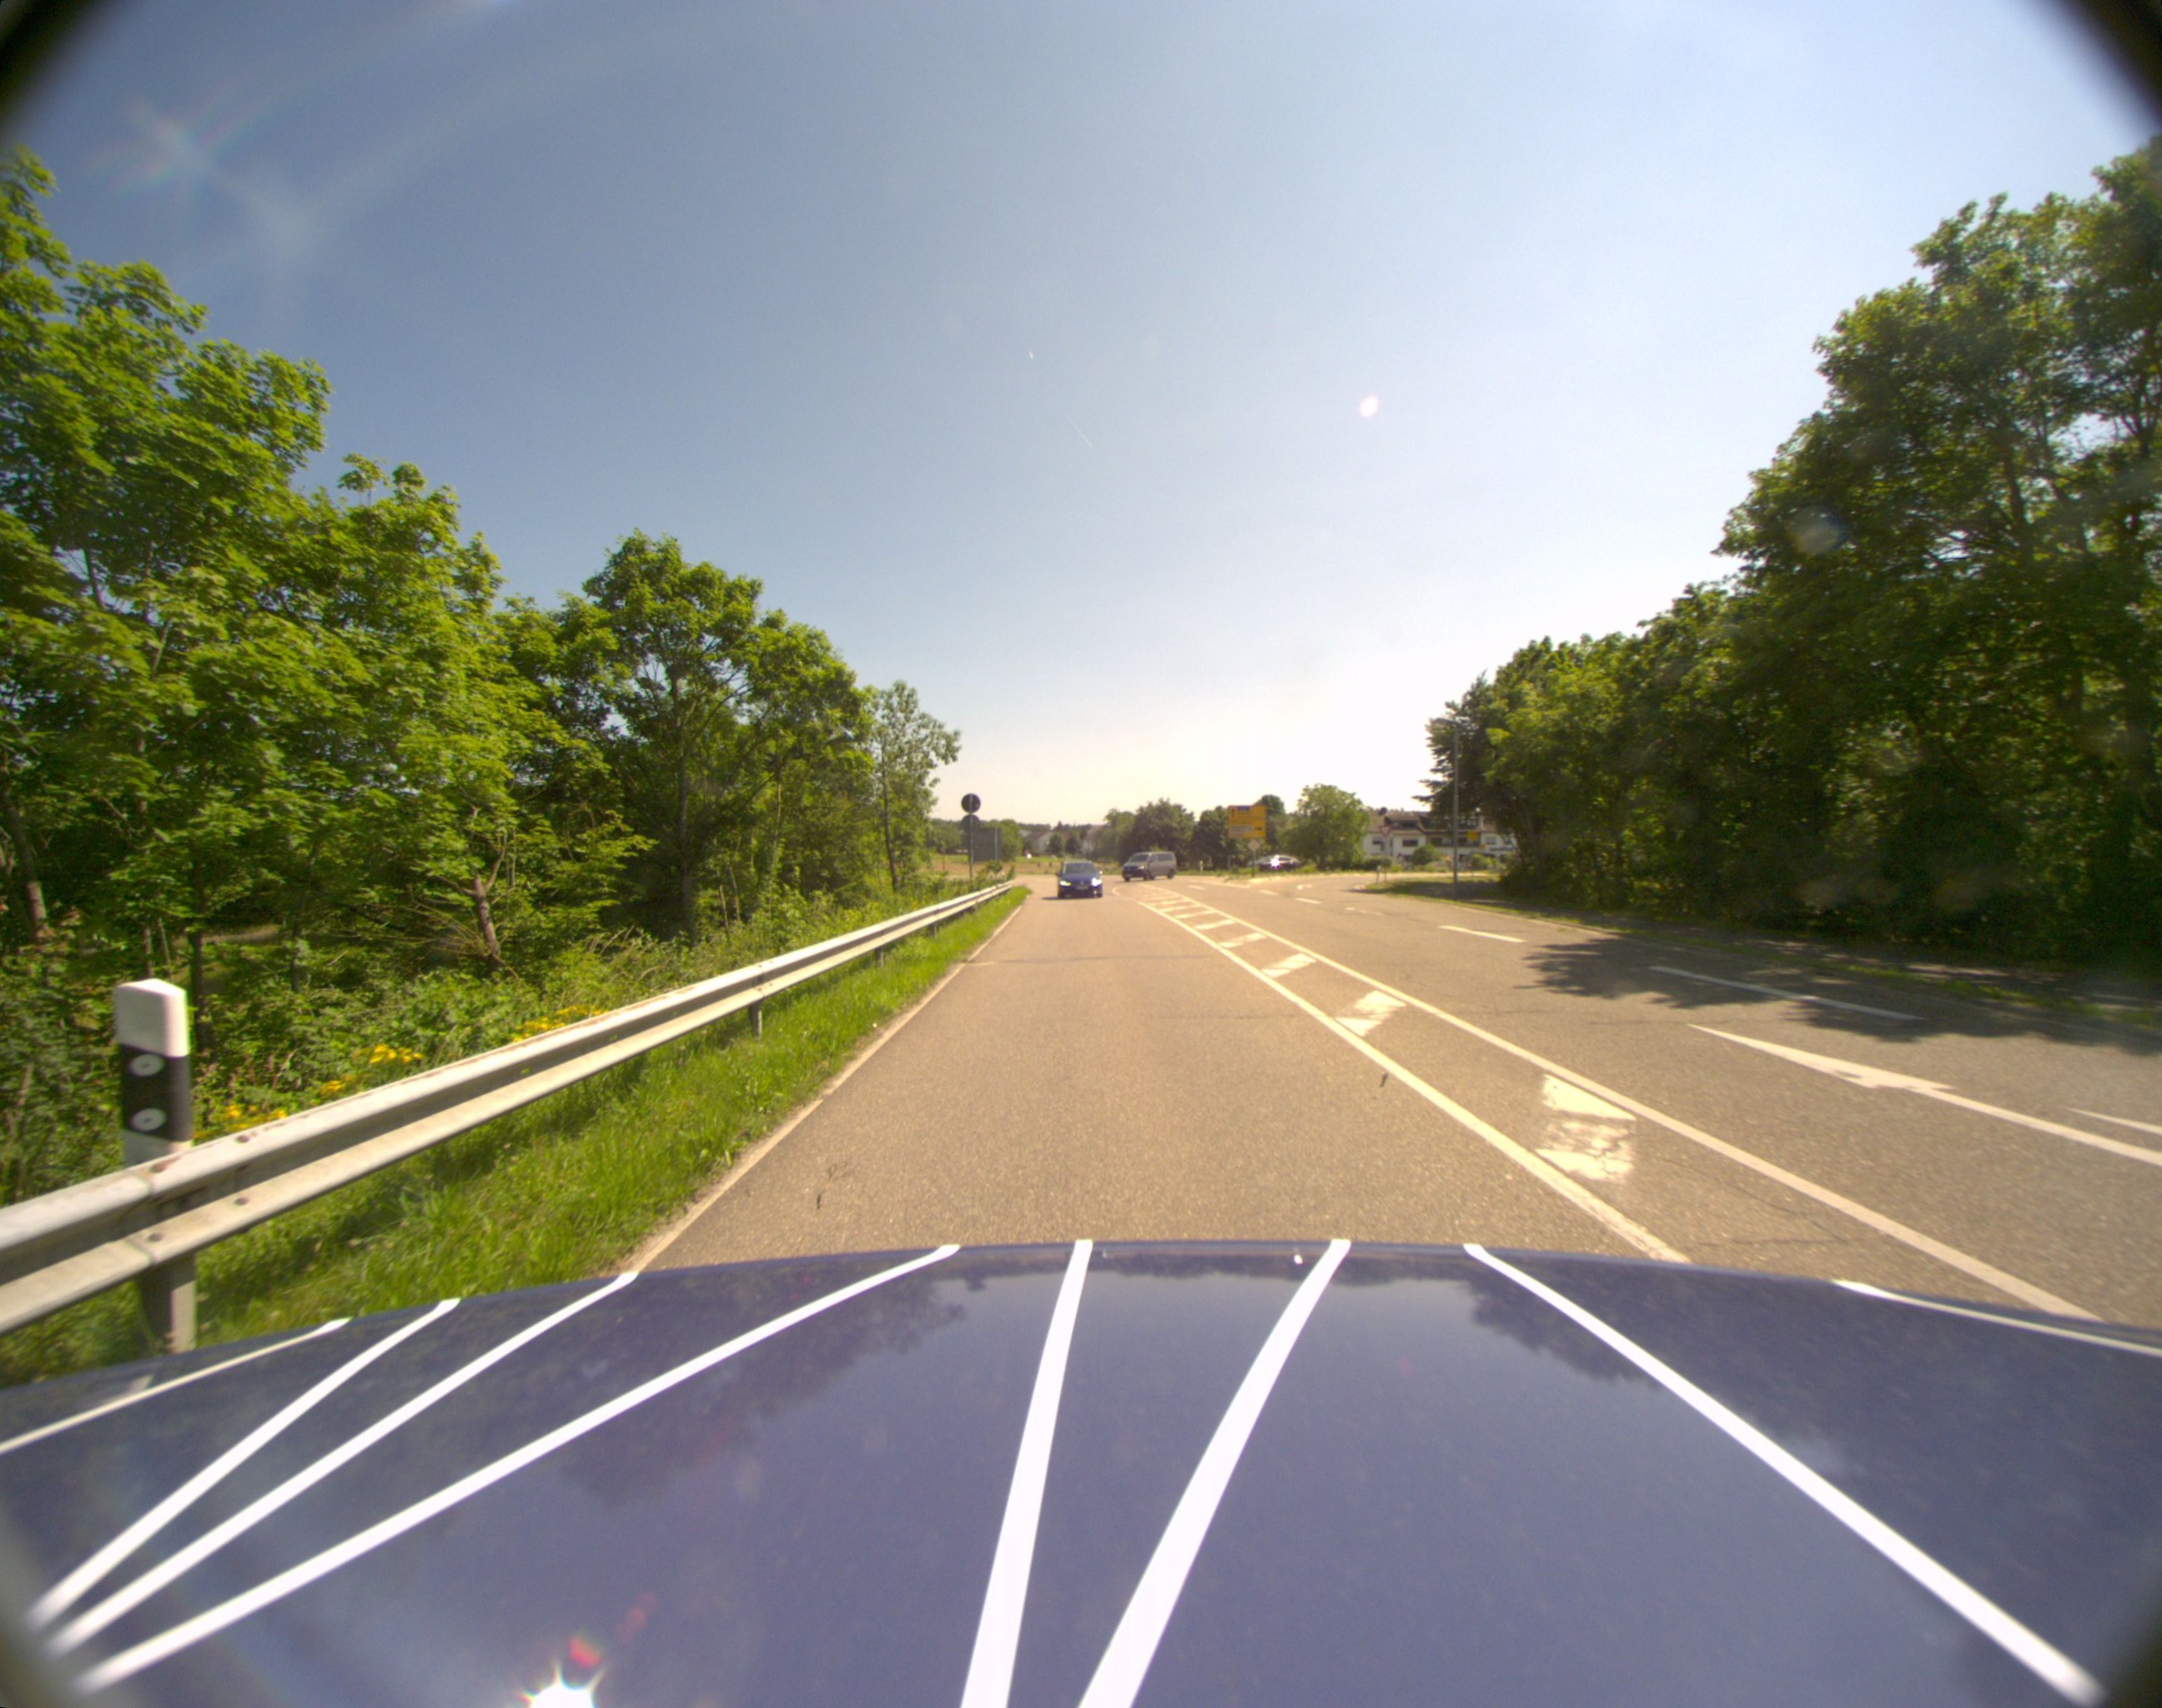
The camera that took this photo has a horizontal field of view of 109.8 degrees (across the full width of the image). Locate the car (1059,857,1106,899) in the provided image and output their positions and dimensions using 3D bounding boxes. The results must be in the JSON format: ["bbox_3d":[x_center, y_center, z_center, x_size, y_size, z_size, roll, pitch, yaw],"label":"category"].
[{"bbox_3d":[0.008,0.980,32.553,1.828,1.591,4.195,-3,0,-2],"label":"car"}]

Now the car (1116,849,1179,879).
[{"bbox_3d":[4.802,0.703,54.213,1.994,2.001,4.776,-1,-1,42],"label":"car"}]

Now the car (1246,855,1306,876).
[{"bbox_3d":[15.556,0.913,60.644,4.380,1.636,1.746,-1,-1,-20],"label":"car"}]
